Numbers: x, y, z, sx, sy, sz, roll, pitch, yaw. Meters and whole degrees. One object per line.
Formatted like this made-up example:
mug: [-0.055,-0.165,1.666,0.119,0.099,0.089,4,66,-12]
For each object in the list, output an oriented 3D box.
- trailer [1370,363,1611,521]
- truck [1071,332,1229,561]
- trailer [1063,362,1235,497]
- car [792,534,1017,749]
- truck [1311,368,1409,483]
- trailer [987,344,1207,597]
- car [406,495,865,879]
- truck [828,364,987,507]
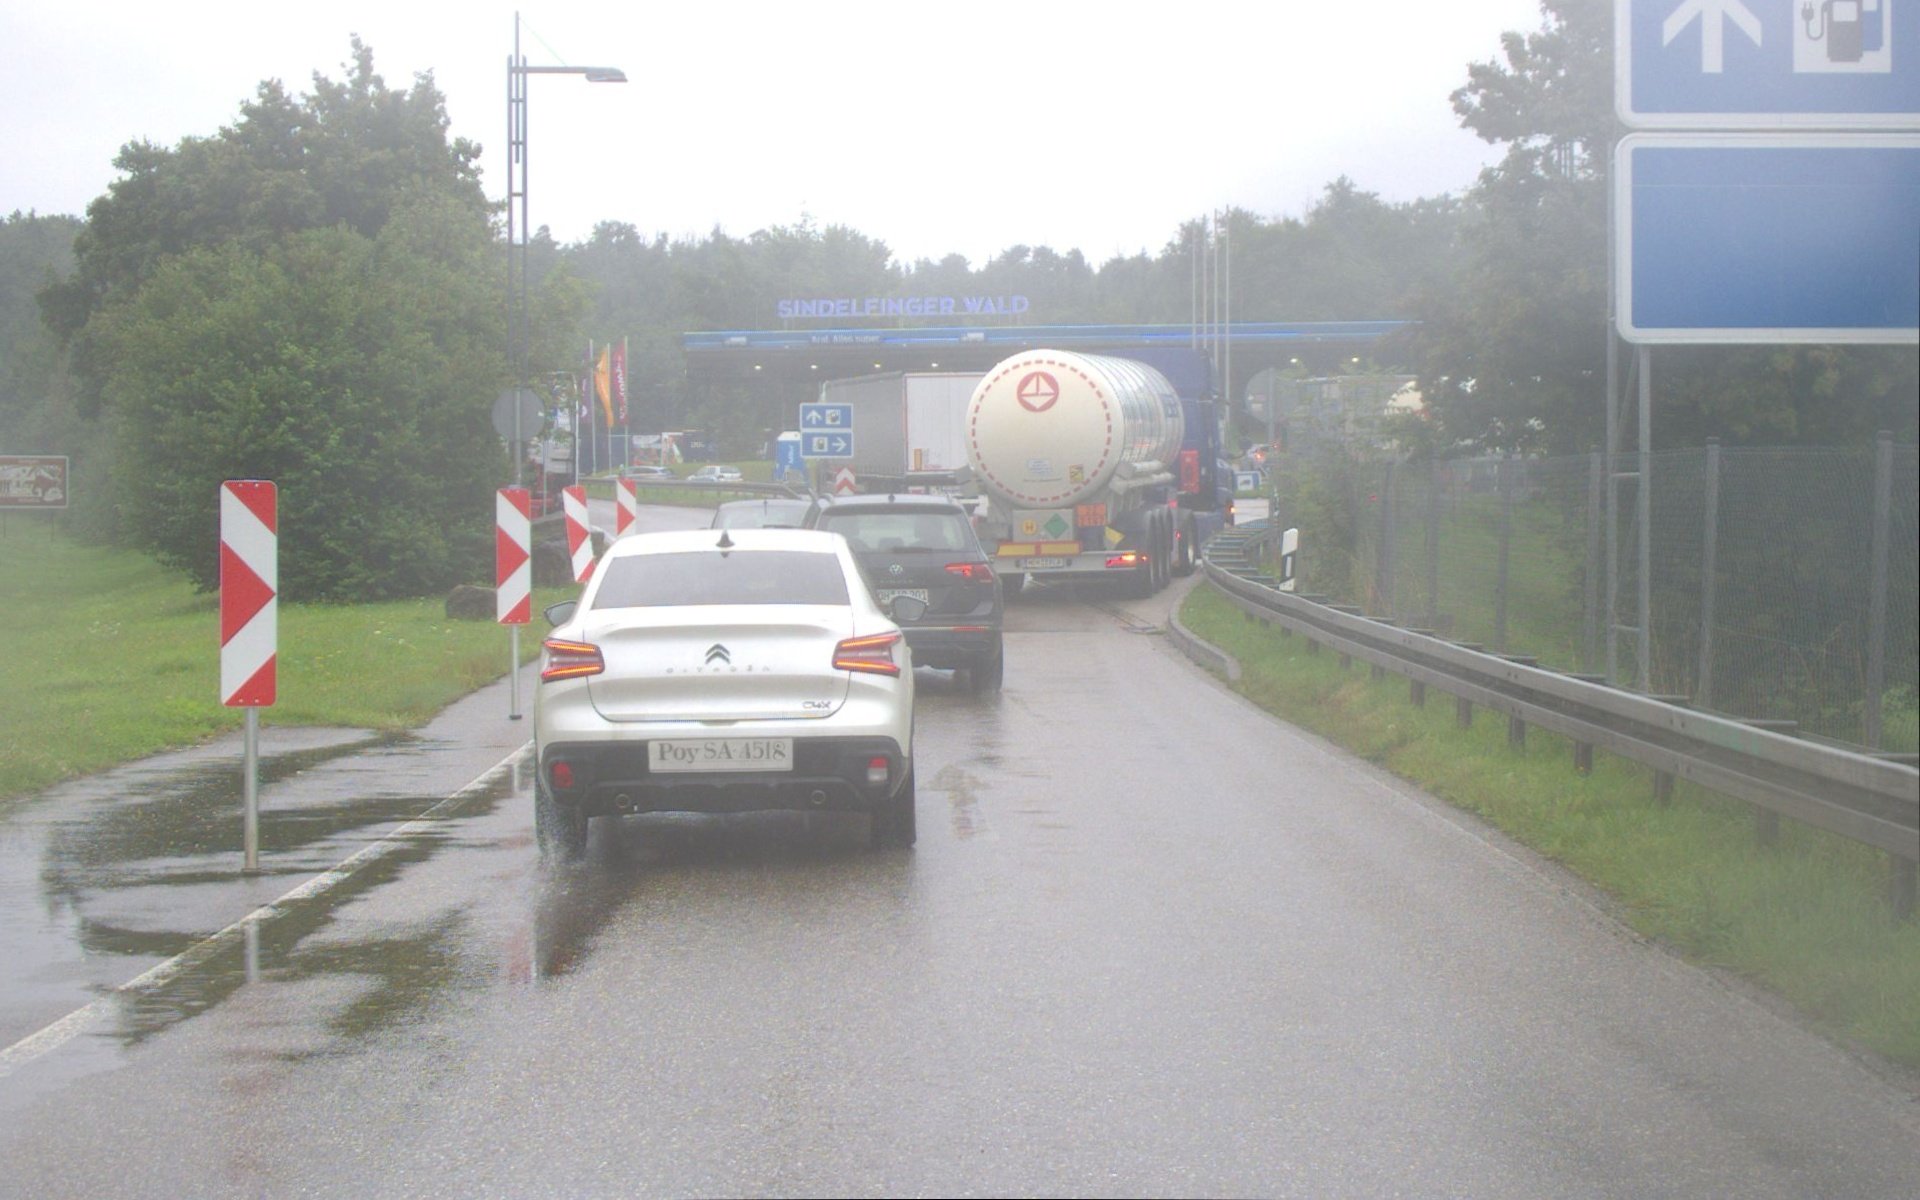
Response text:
trailer: [12.440,-3.686,79.647,2.134,3.428,10.238,1,3,29]
truck: [3.120,-2.482,55.578,2.053,3.518,4.745,0,3,9]
trailer: [6.038,-5.585,112.231,3.215,4.174,11.534,0,3,-9]
car: [-0.449,0.306,29.499,1.742,1.661,4.000,2,1,0]
truck: [13.620,-5.964,117.175,2.425,3.792,4.002,-2,4,-6]
trailer: [2.112,-1.891,49.031,1.981,3.213,10.319,0,3,9]
car: [-1.473,0.334,16.994,1.993,1.673,4.001,0,1,-2]
truck: [-1.660,-4.787,99.711,2.370,3.860,12.460,-2,3,-11]
